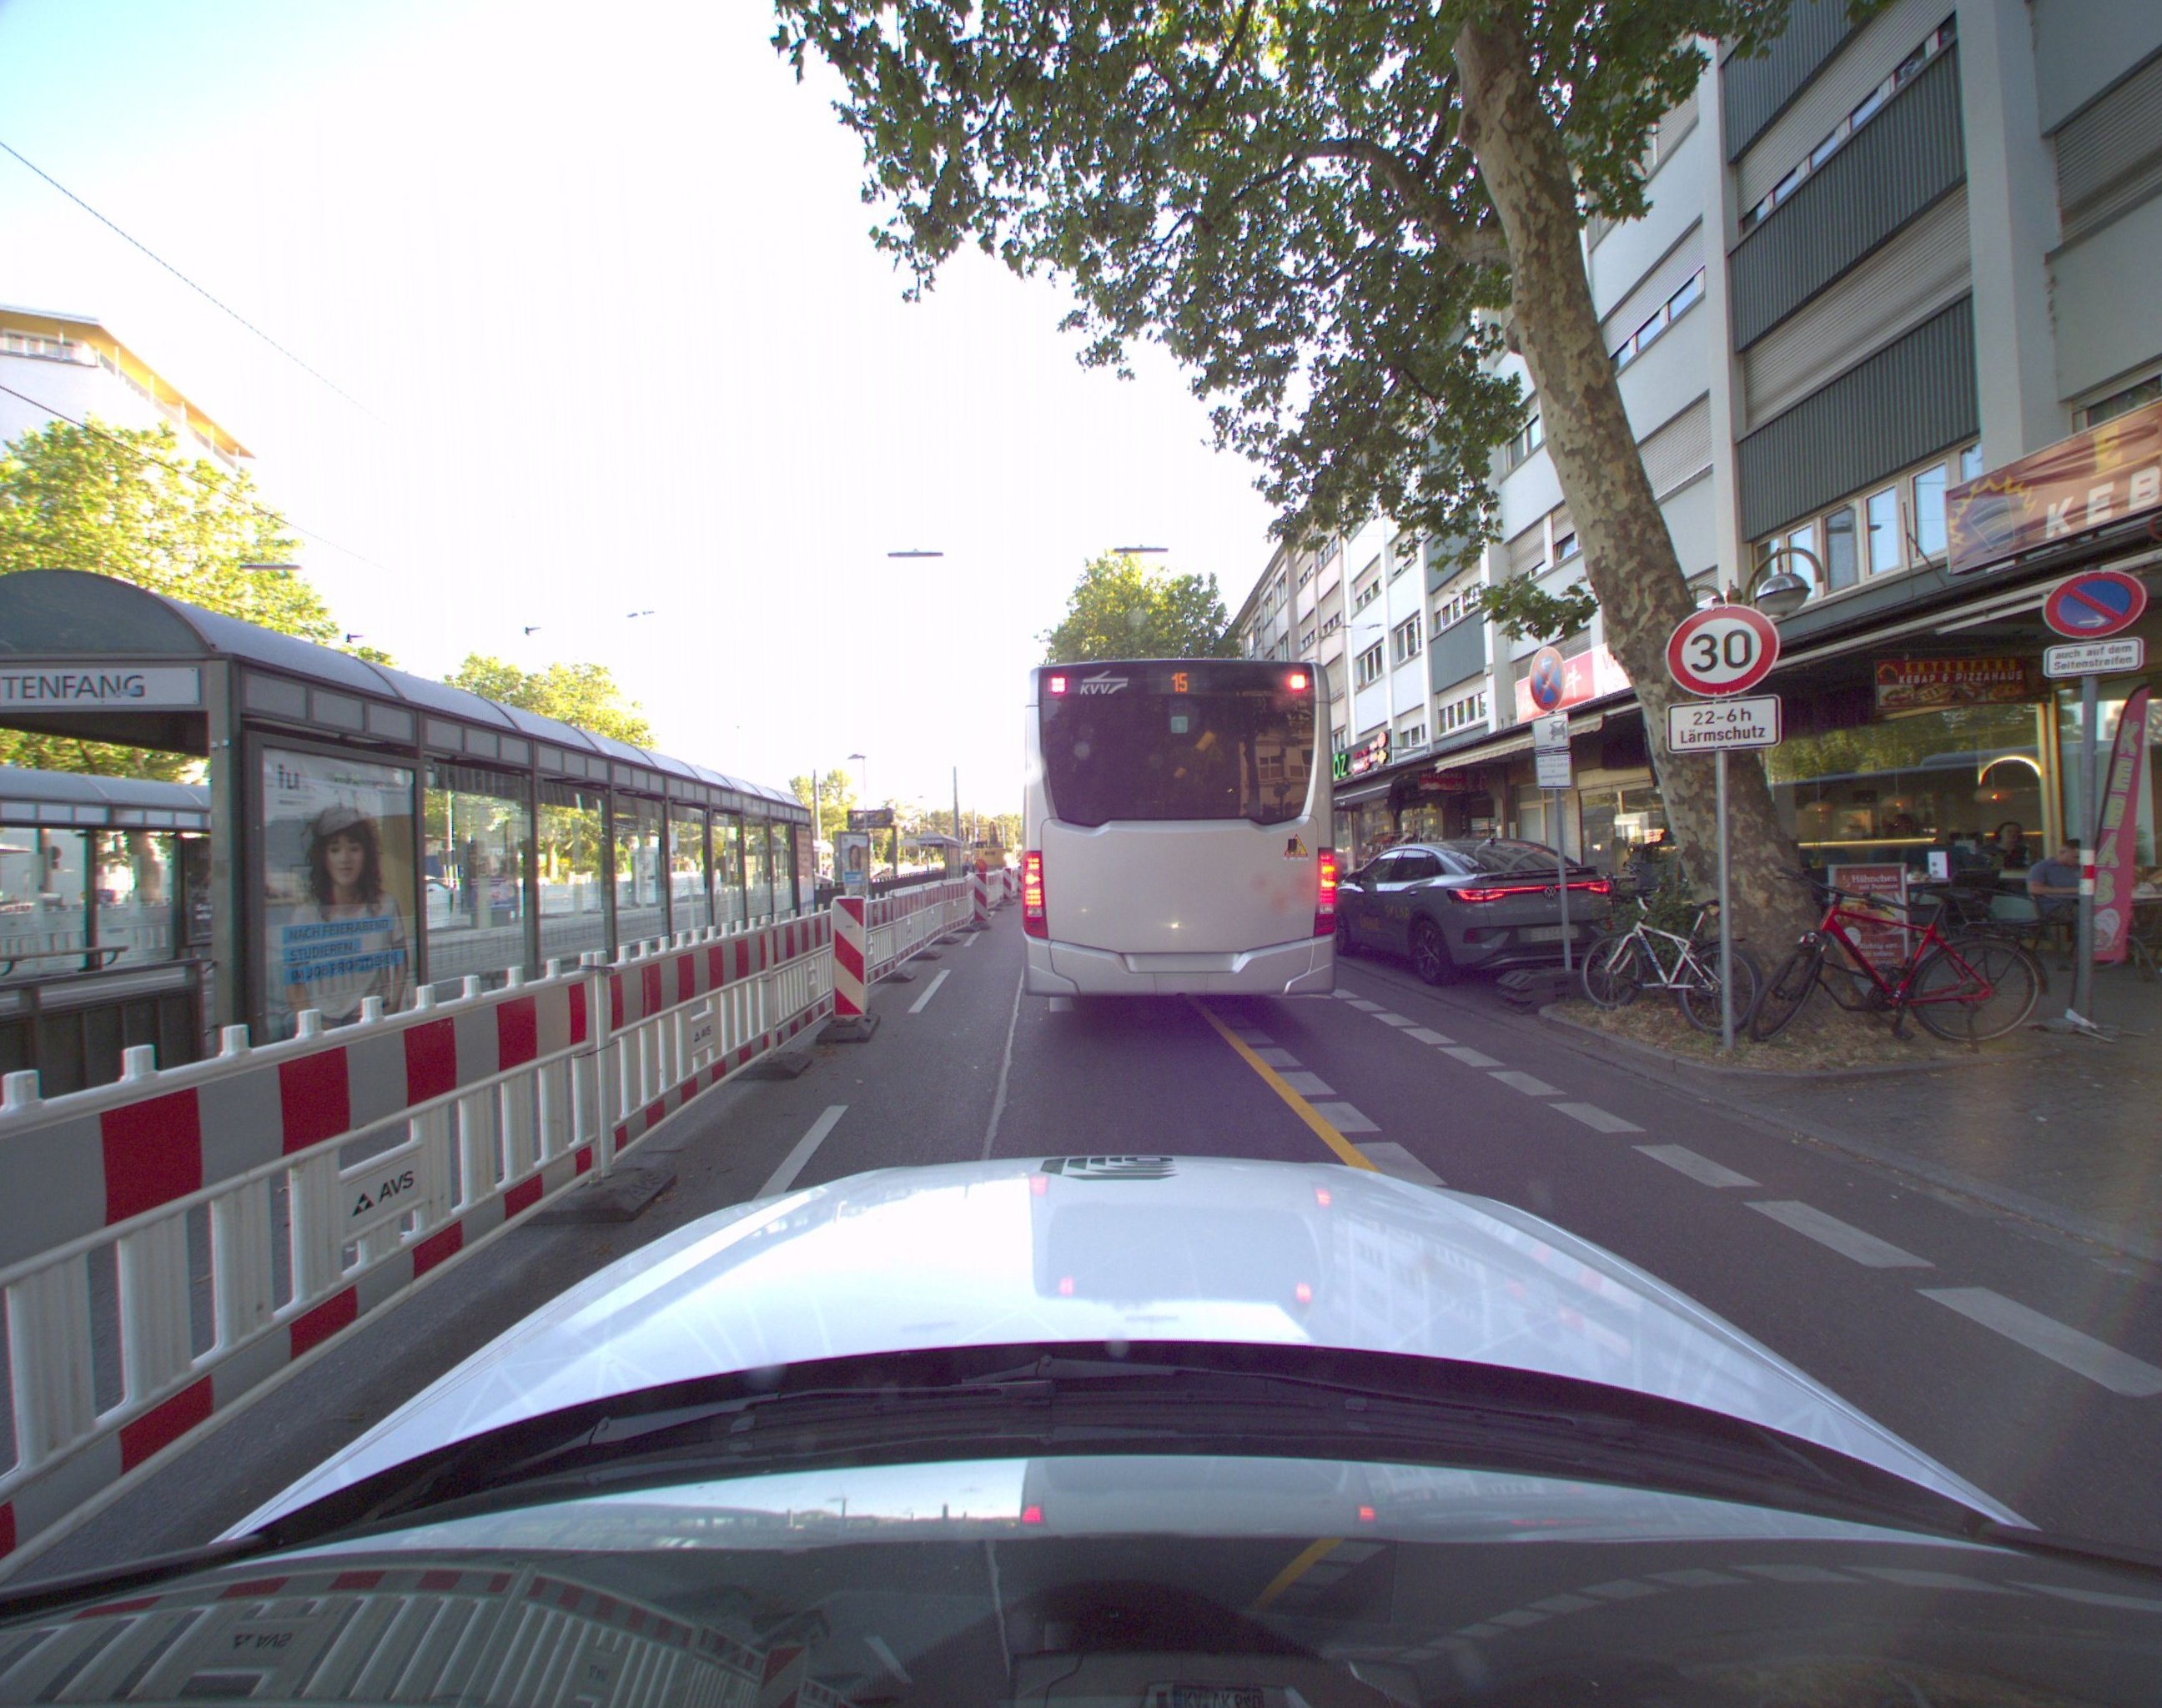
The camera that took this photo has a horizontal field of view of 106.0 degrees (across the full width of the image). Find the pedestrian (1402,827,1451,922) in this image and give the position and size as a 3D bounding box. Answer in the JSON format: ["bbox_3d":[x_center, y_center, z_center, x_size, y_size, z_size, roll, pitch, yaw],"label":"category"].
[{"bbox_3d":[7.547,0.432,17.794,0.689,2.014,0.696,-2,-1,-3],"label":"pedestrian"}]

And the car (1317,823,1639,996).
[{"bbox_3d":[4.611,0.565,10.320,1.736,1.597,4.294,-4,0,-3],"label":"car"}]

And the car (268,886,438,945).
[{"bbox_3d":[-25.996,2.136,29.356,1.943,1.654,4.686,-2,0,-2],"label":"car"}]

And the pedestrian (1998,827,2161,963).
[{"bbox_3d":[9.630,0.383,7.854,0.673,1.203,0.706,-5,-1,11],"label":"pedestrian"}]

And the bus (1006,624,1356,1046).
[{"bbox_3d":[1.073,-0.136,11.368,2.597,3.170,10.301,-1,0,4],"label":"bus"}]

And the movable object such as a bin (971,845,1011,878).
[{"bbox_3d":[-7.035,0.595,64.014,2.800,2.462,3.995,-2,0,-3],"label":"movable object such as a bin"}]

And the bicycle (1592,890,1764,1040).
[{"bbox_3d":[4.488,0.791,6.196,0.294,0.927,1.127,-6,2,-8],"label":"bicycle"}]

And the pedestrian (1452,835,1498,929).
[{"bbox_3d":[8.687,0.604,17.973,0.611,2.014,0.696,-2,-1,-1],"label":"pedestrian"}]

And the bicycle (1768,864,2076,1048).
[{"bbox_3d":[5.501,0.679,5.377,1.450,1.066,0.297,-6,2,13],"label":"bicycle"}]

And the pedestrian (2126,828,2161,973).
[{"bbox_3d":[9.568,0.387,6.817,0.612,1.243,0.714,-5,-1,11],"label":"pedestrian"}]
